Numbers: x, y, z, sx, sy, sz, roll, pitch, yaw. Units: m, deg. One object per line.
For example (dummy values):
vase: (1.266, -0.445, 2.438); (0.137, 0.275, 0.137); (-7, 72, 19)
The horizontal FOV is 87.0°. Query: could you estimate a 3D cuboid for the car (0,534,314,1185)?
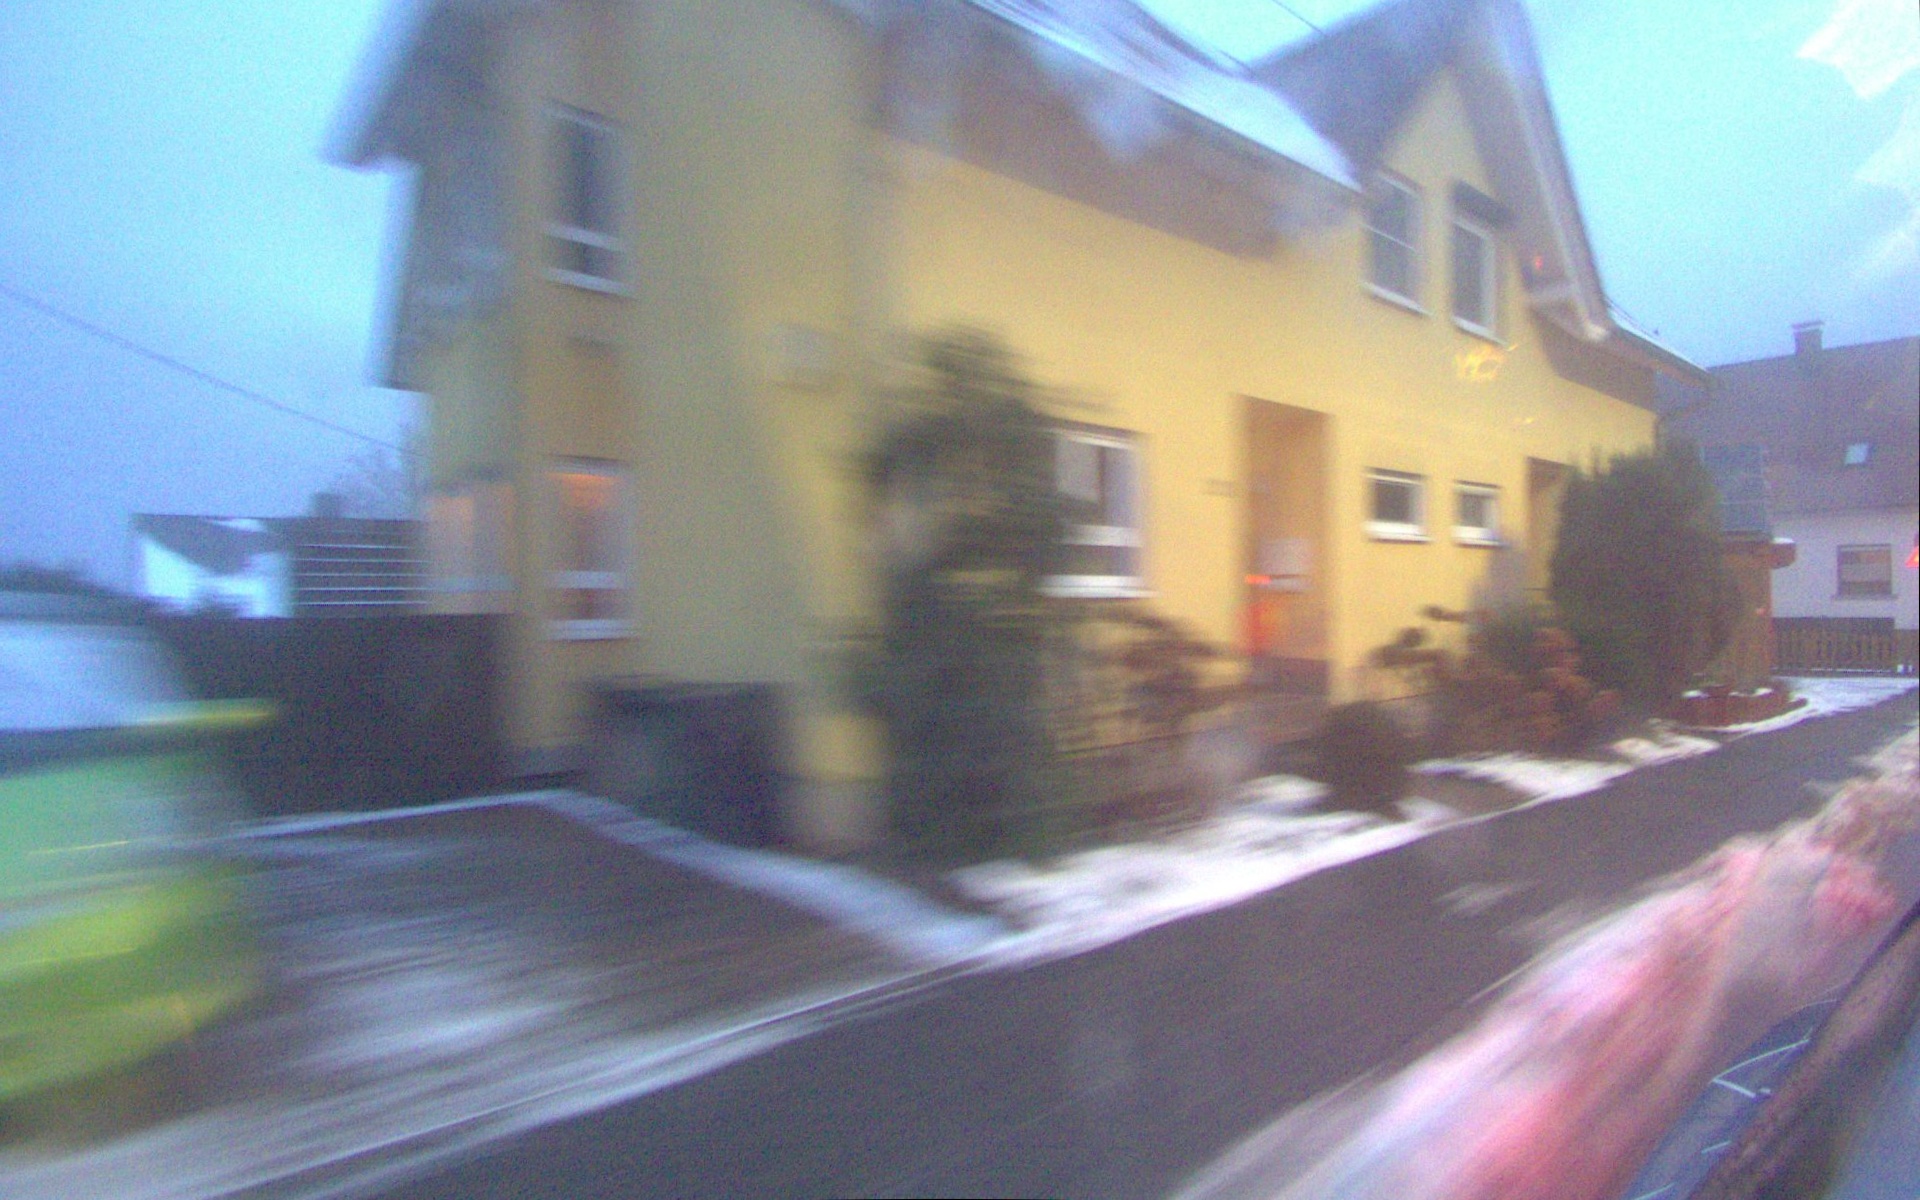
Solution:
car: (-3.737, 0.601, 3.504); (1.792, 1.516, 3.743); (1, 0, -45)
